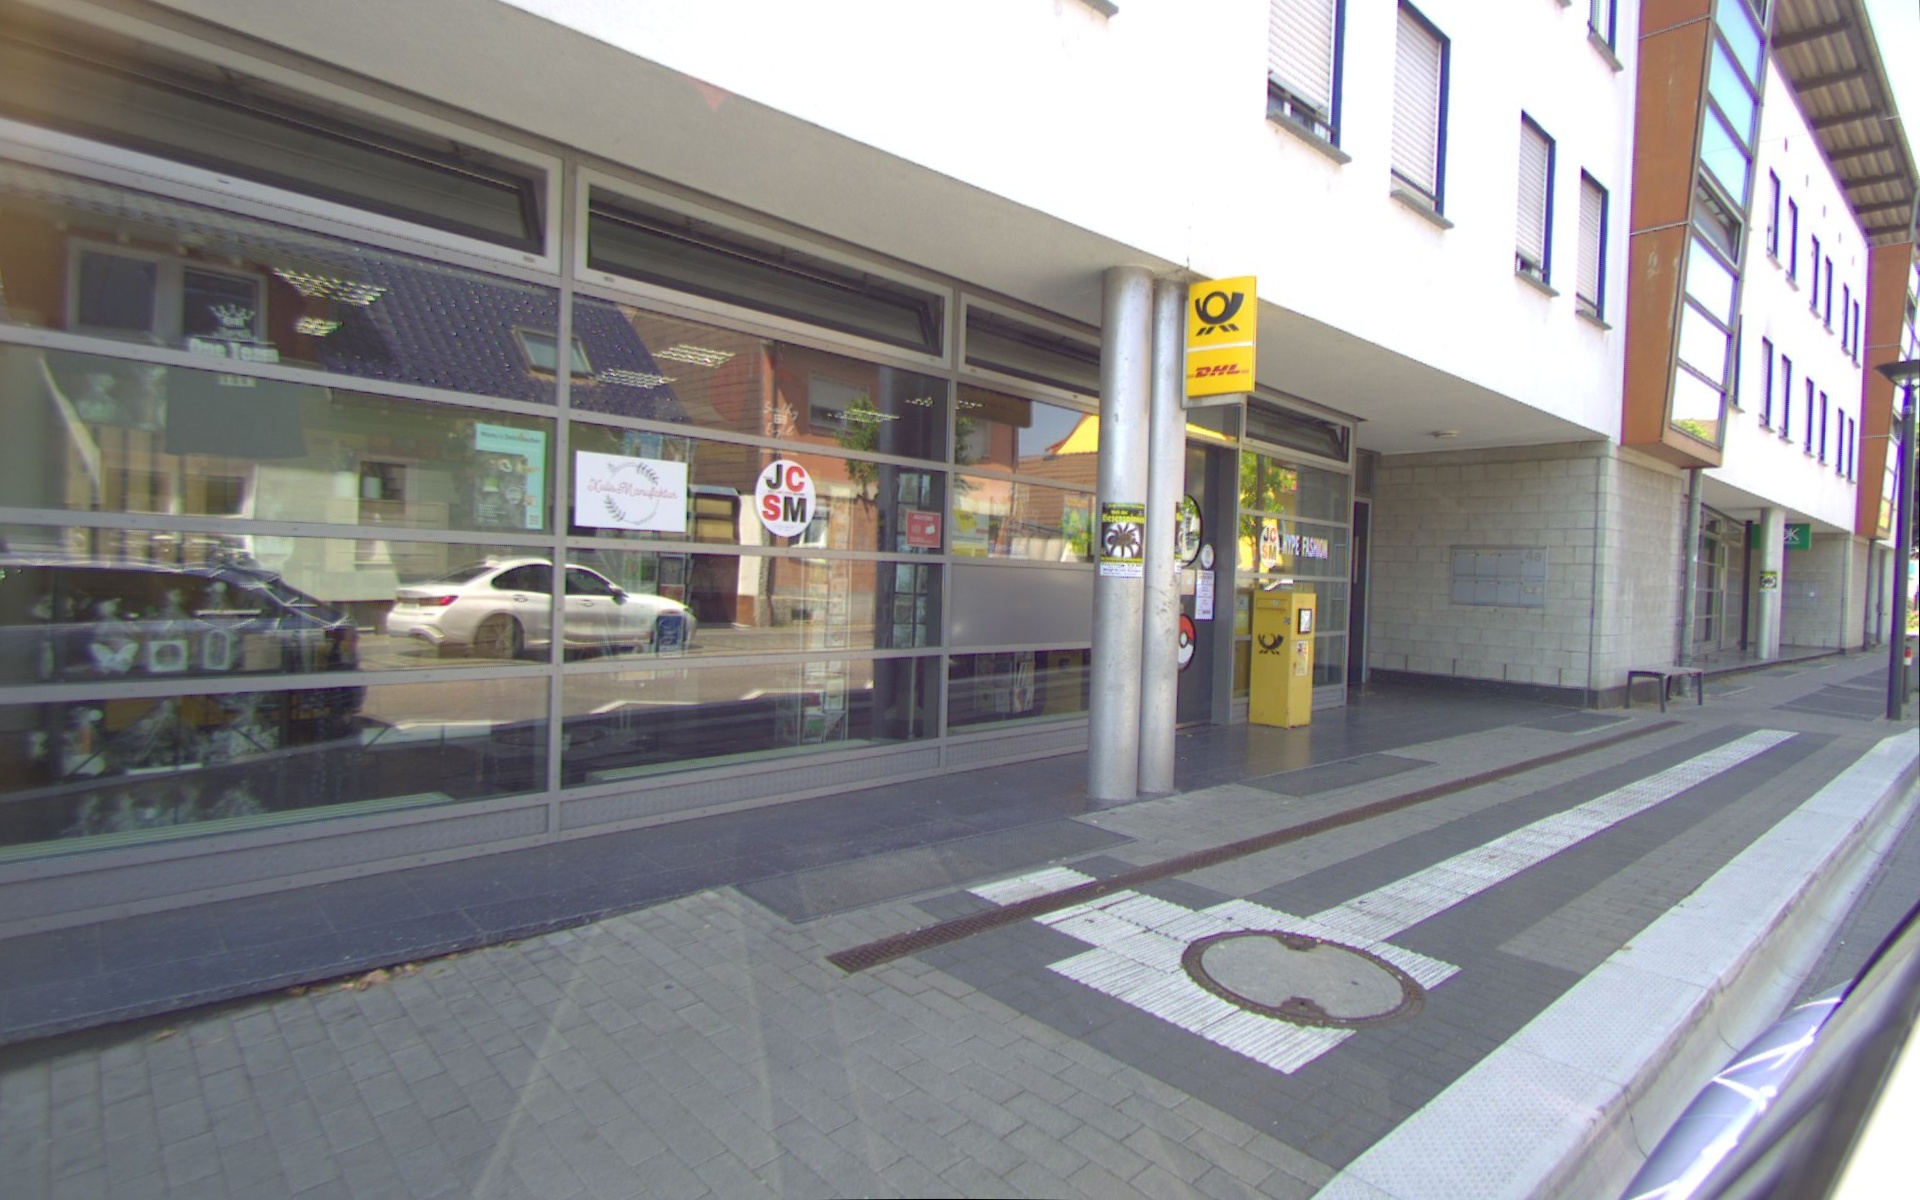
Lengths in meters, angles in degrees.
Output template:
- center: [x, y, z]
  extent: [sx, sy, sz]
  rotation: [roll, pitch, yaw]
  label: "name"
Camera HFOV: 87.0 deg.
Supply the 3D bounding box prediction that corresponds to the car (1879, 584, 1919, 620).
- center: [53.796, 0.184, 55.949]
  extent: [1.966, 1.882, 4.201]
  rotation: [0, 3, -42]
  label: "car"
